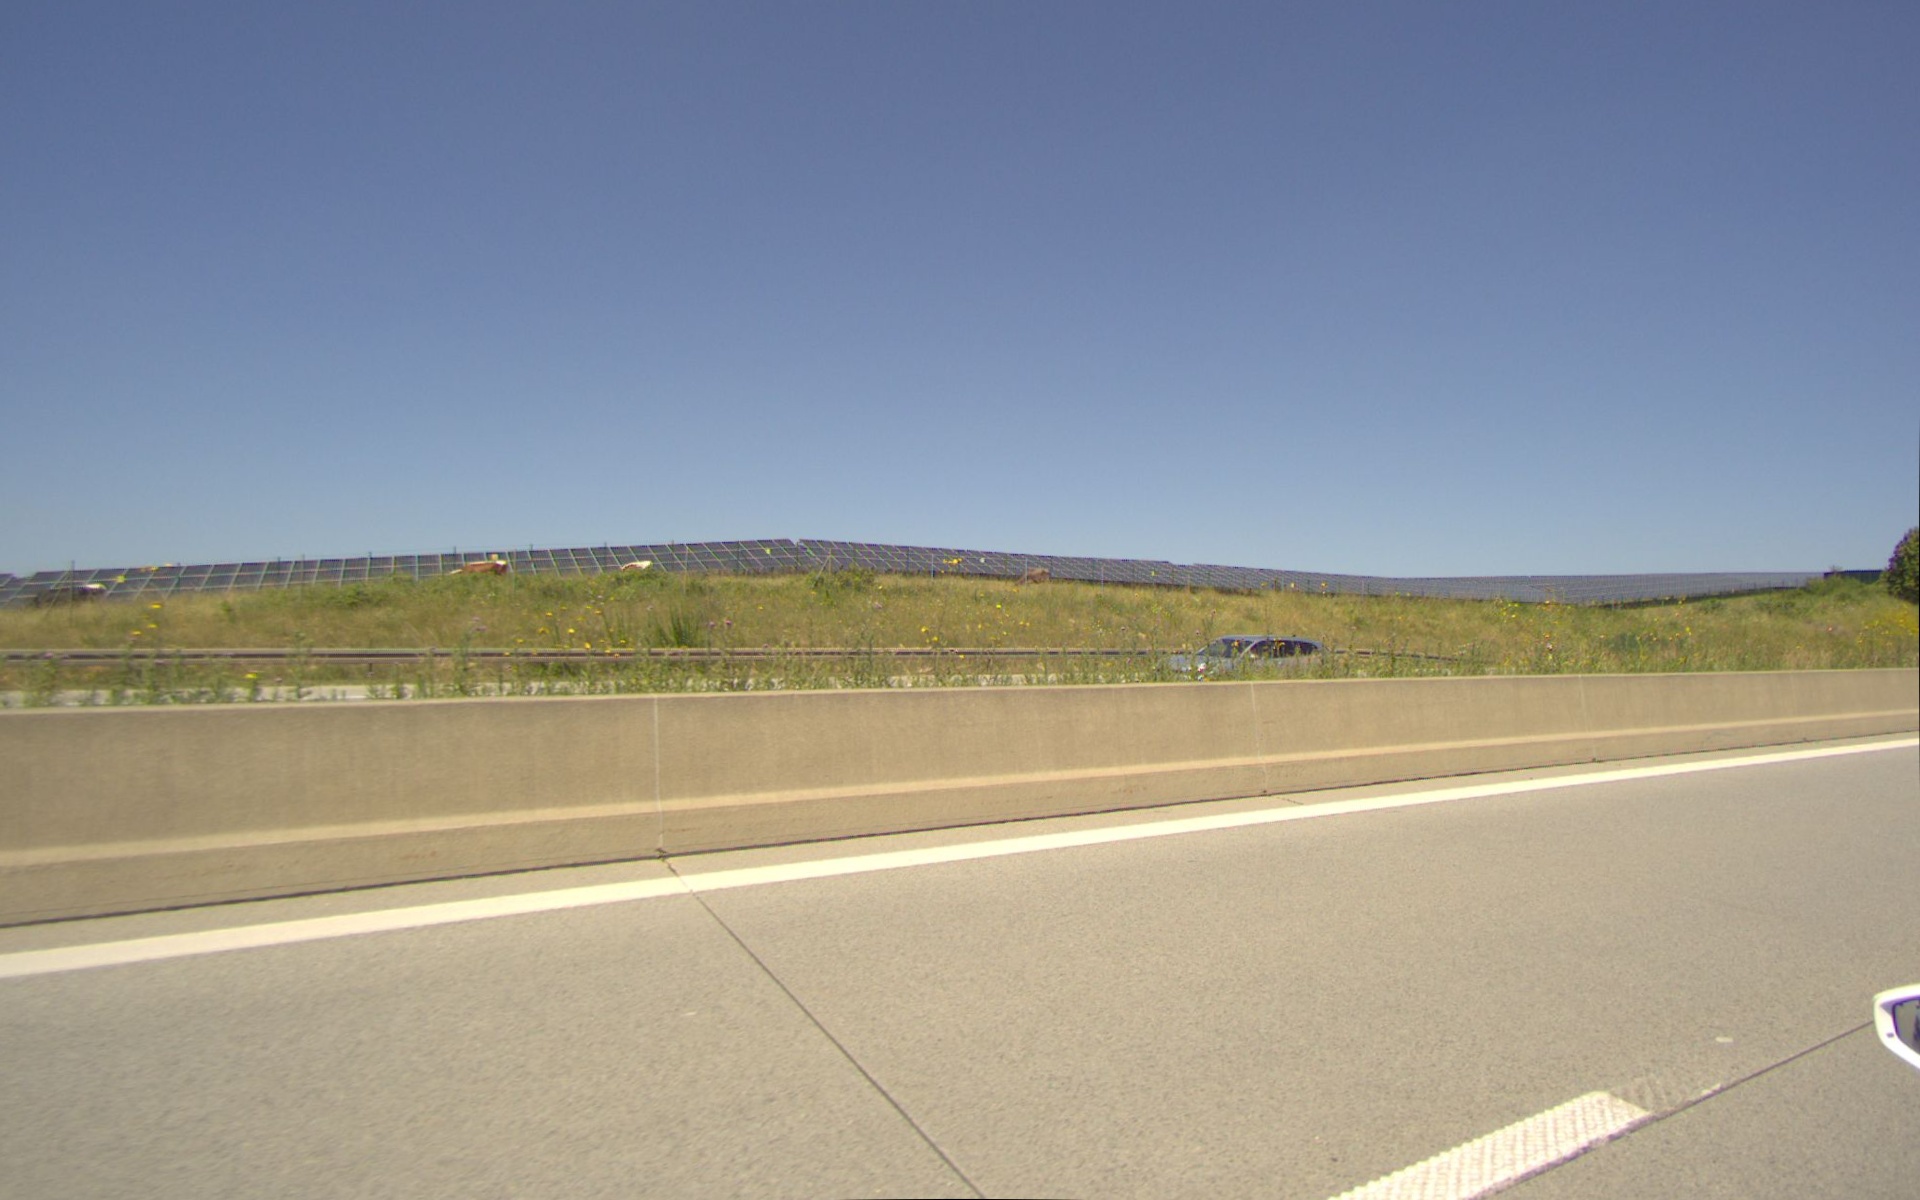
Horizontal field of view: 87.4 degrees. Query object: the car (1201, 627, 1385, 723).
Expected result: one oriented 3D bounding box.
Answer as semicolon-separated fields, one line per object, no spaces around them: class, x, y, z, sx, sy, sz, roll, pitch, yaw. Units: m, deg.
car;7.812;1.690;23.512;3.953;2.040;1.984;1;-1;-30
